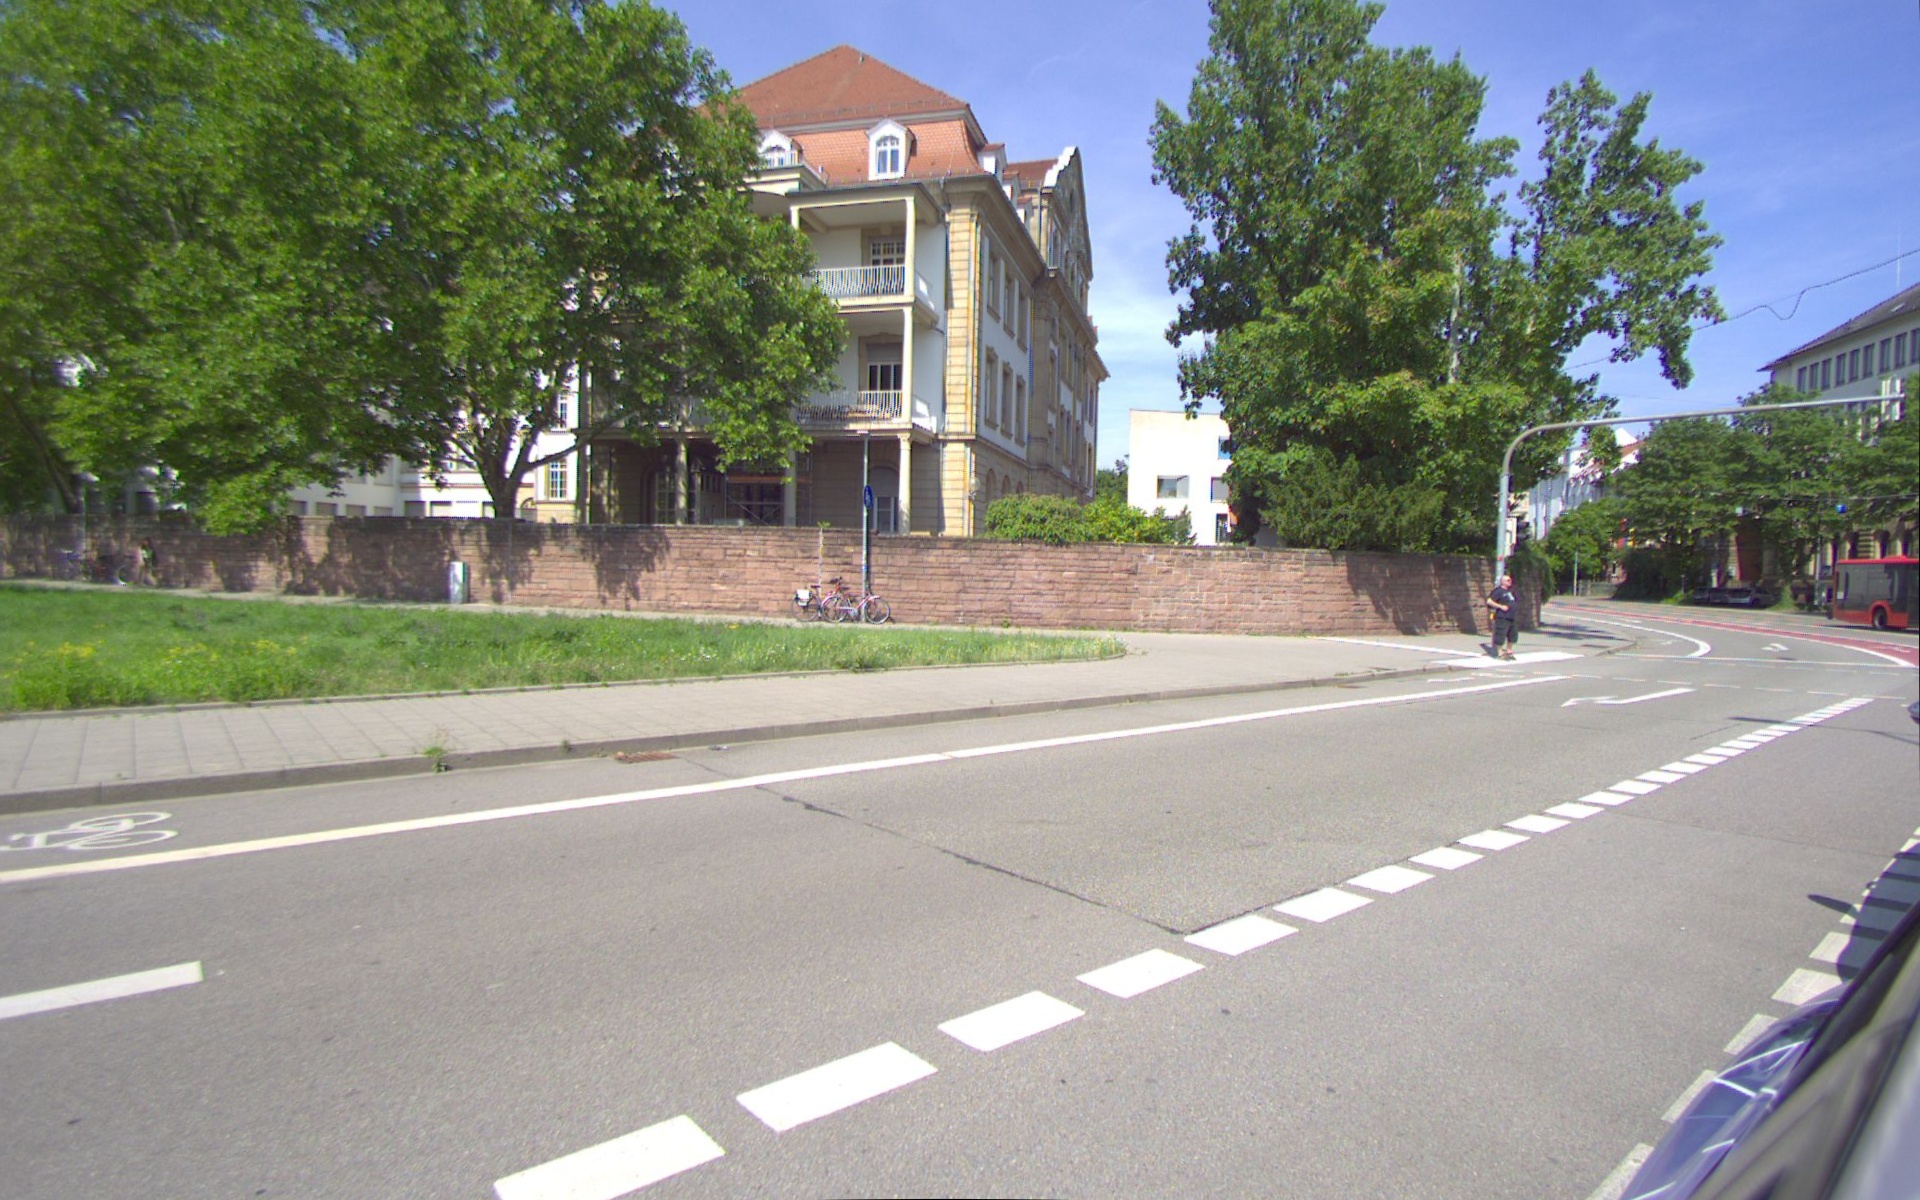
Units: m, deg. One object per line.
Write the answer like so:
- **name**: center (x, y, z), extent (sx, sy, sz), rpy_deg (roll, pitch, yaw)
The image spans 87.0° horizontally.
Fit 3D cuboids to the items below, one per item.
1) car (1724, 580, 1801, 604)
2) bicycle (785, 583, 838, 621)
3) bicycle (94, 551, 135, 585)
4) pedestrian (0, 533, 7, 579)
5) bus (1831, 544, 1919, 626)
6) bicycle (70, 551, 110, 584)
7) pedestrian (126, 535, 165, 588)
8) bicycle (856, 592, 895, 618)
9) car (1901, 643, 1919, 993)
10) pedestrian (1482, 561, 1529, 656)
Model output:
- **car**: center (59.464, -0.595, 75.080), extent (3.941, 1.682, 1.993), rpy_deg (0, 3, 14)
- **bicycle**: center (-3.631, 0.046, 24.704), extent (1.202, 0.894, 0.395), rpy_deg (1, 2, -21)
- **bicycle**: center (-27.564, -1.051, 33.004), extent (1.432, 1.046, 0.444), rpy_deg (3, 2, 24)
- **pedestrian**: center (-34.071, -1.563, 35.754), extent (0.700, 1.597, 0.516), rpy_deg (3, 3, 41)
- **bus**: center (38.110, -0.574, 37.681), extent (3.086, 3.133, 12.365), rpy_deg (0, 1, 13)
- **bicycle**: center (-28.916, -1.084, 33.627), extent (1.432, 1.046, 0.444), rpy_deg (3, 2, 24)
- **pedestrian**: center (-25.015, -1.183, 31.077), extent (0.900, 1.567, 0.501), rpy_deg (2, 2, 13)
- **bicycle**: center (-2.085, 0.115, 25.046), extent (0.929, 0.609, 0.275), rpy_deg (2, 2, -2)
- **car**: center (5.311, 0.548, 4.013), extent (4.077, 1.605, 1.688), rpy_deg (0, 3, -39)
- **pedestrian**: center (12.067, 0.169, 22.381), extent (0.790, 2.038, 0.608), rpy_deg (2, 1, 35)
